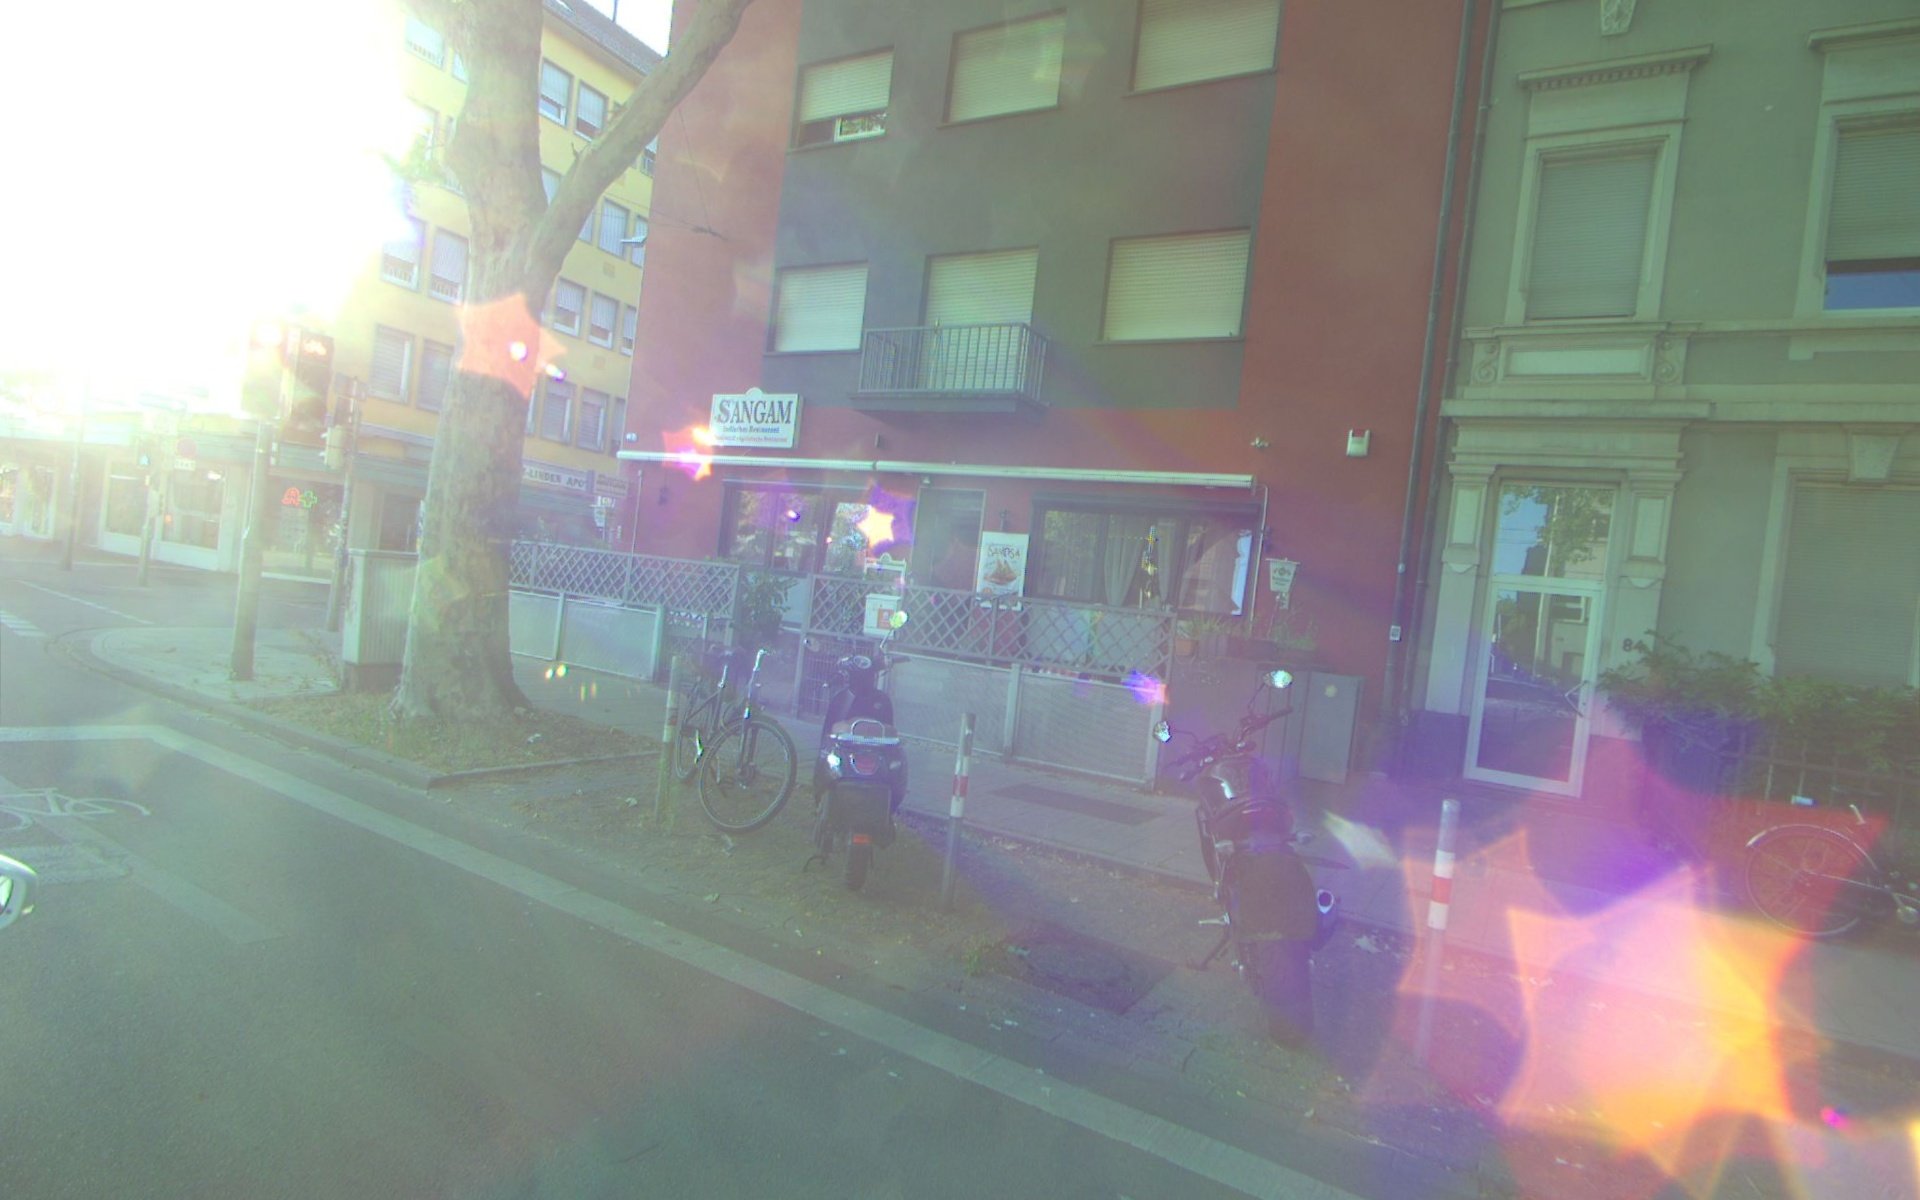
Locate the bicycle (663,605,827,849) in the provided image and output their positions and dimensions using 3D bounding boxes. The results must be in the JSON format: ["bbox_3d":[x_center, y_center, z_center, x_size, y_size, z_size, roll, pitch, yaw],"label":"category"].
[{"bbox_3d":[-1.491,0.758,6.681,0.686,1.219,1.837,8,2,-20],"label":"bicycle"}]

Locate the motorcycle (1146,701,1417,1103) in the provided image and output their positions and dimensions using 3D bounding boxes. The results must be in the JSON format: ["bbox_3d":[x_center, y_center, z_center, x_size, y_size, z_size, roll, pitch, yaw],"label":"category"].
[{"bbox_3d":[1.319,1.163,4.620,0.752,1.077,2.212,7,2,9],"label":"motorcycle"}]

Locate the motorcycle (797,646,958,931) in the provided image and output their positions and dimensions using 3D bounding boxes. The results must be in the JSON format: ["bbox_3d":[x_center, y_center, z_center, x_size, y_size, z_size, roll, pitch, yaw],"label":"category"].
[{"bbox_3d":[-0.541,0.930,5.655,0.591,1.166,1.994,6,0,-10],"label":"motorcycle"}]

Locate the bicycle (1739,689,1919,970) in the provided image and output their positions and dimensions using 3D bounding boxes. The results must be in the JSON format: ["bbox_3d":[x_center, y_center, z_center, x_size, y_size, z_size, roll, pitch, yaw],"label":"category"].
[{"bbox_3d":[5.867,1.376,5.507,2.357,1.443,0.608,6,-1,32],"label":"bicycle"}]
